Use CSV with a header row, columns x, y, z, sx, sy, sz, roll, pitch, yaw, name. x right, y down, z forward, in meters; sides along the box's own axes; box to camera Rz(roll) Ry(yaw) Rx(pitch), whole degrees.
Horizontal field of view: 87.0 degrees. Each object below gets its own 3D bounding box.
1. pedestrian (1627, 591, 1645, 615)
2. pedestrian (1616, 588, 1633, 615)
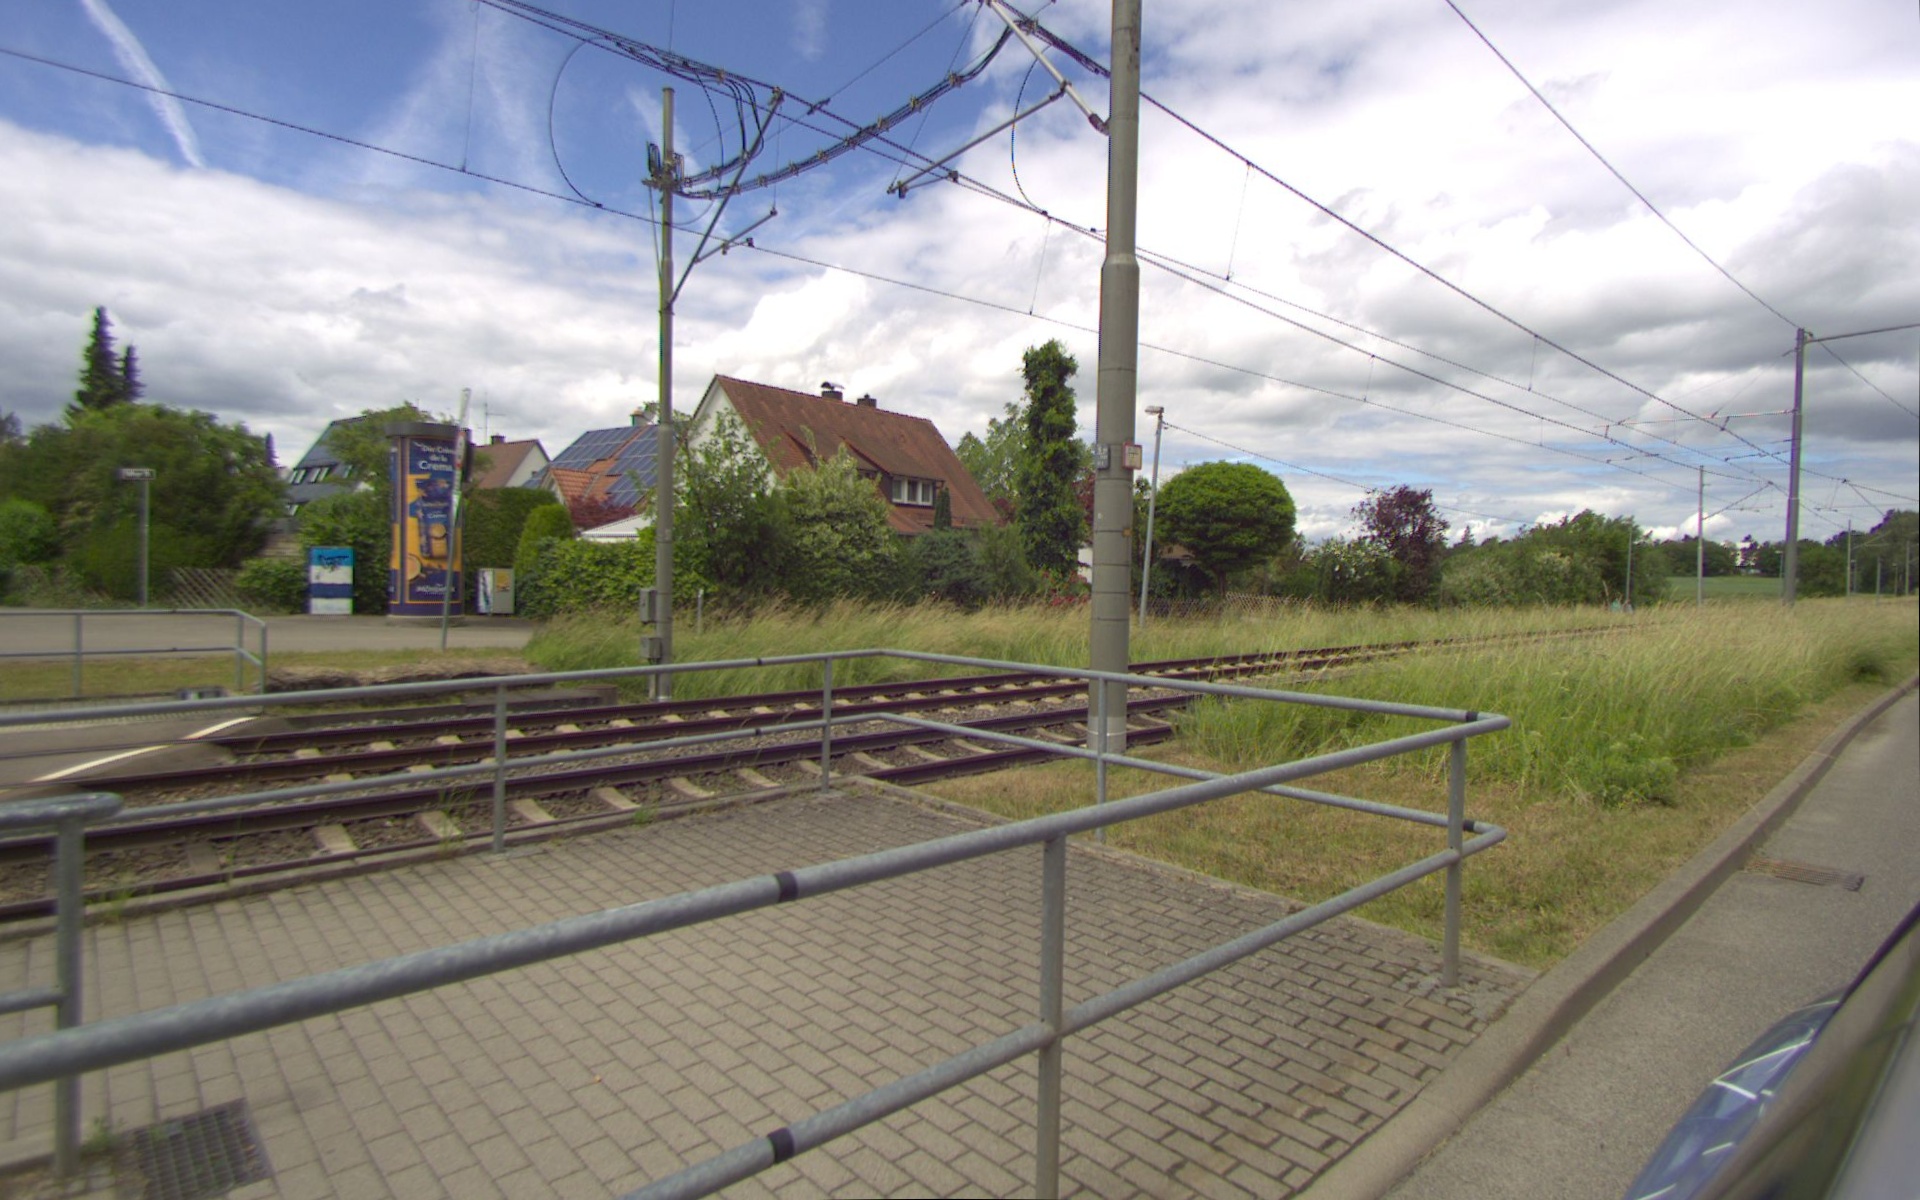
x,y,z,sx,sy,sz,roll,pitch,yaw,name
41.535,0.193,62.195,0.652,1.449,0.601,0,0,-12,pedestrian
41.232,0.098,62.797,0.572,1.643,0.619,0,0,-11,pedestrian
